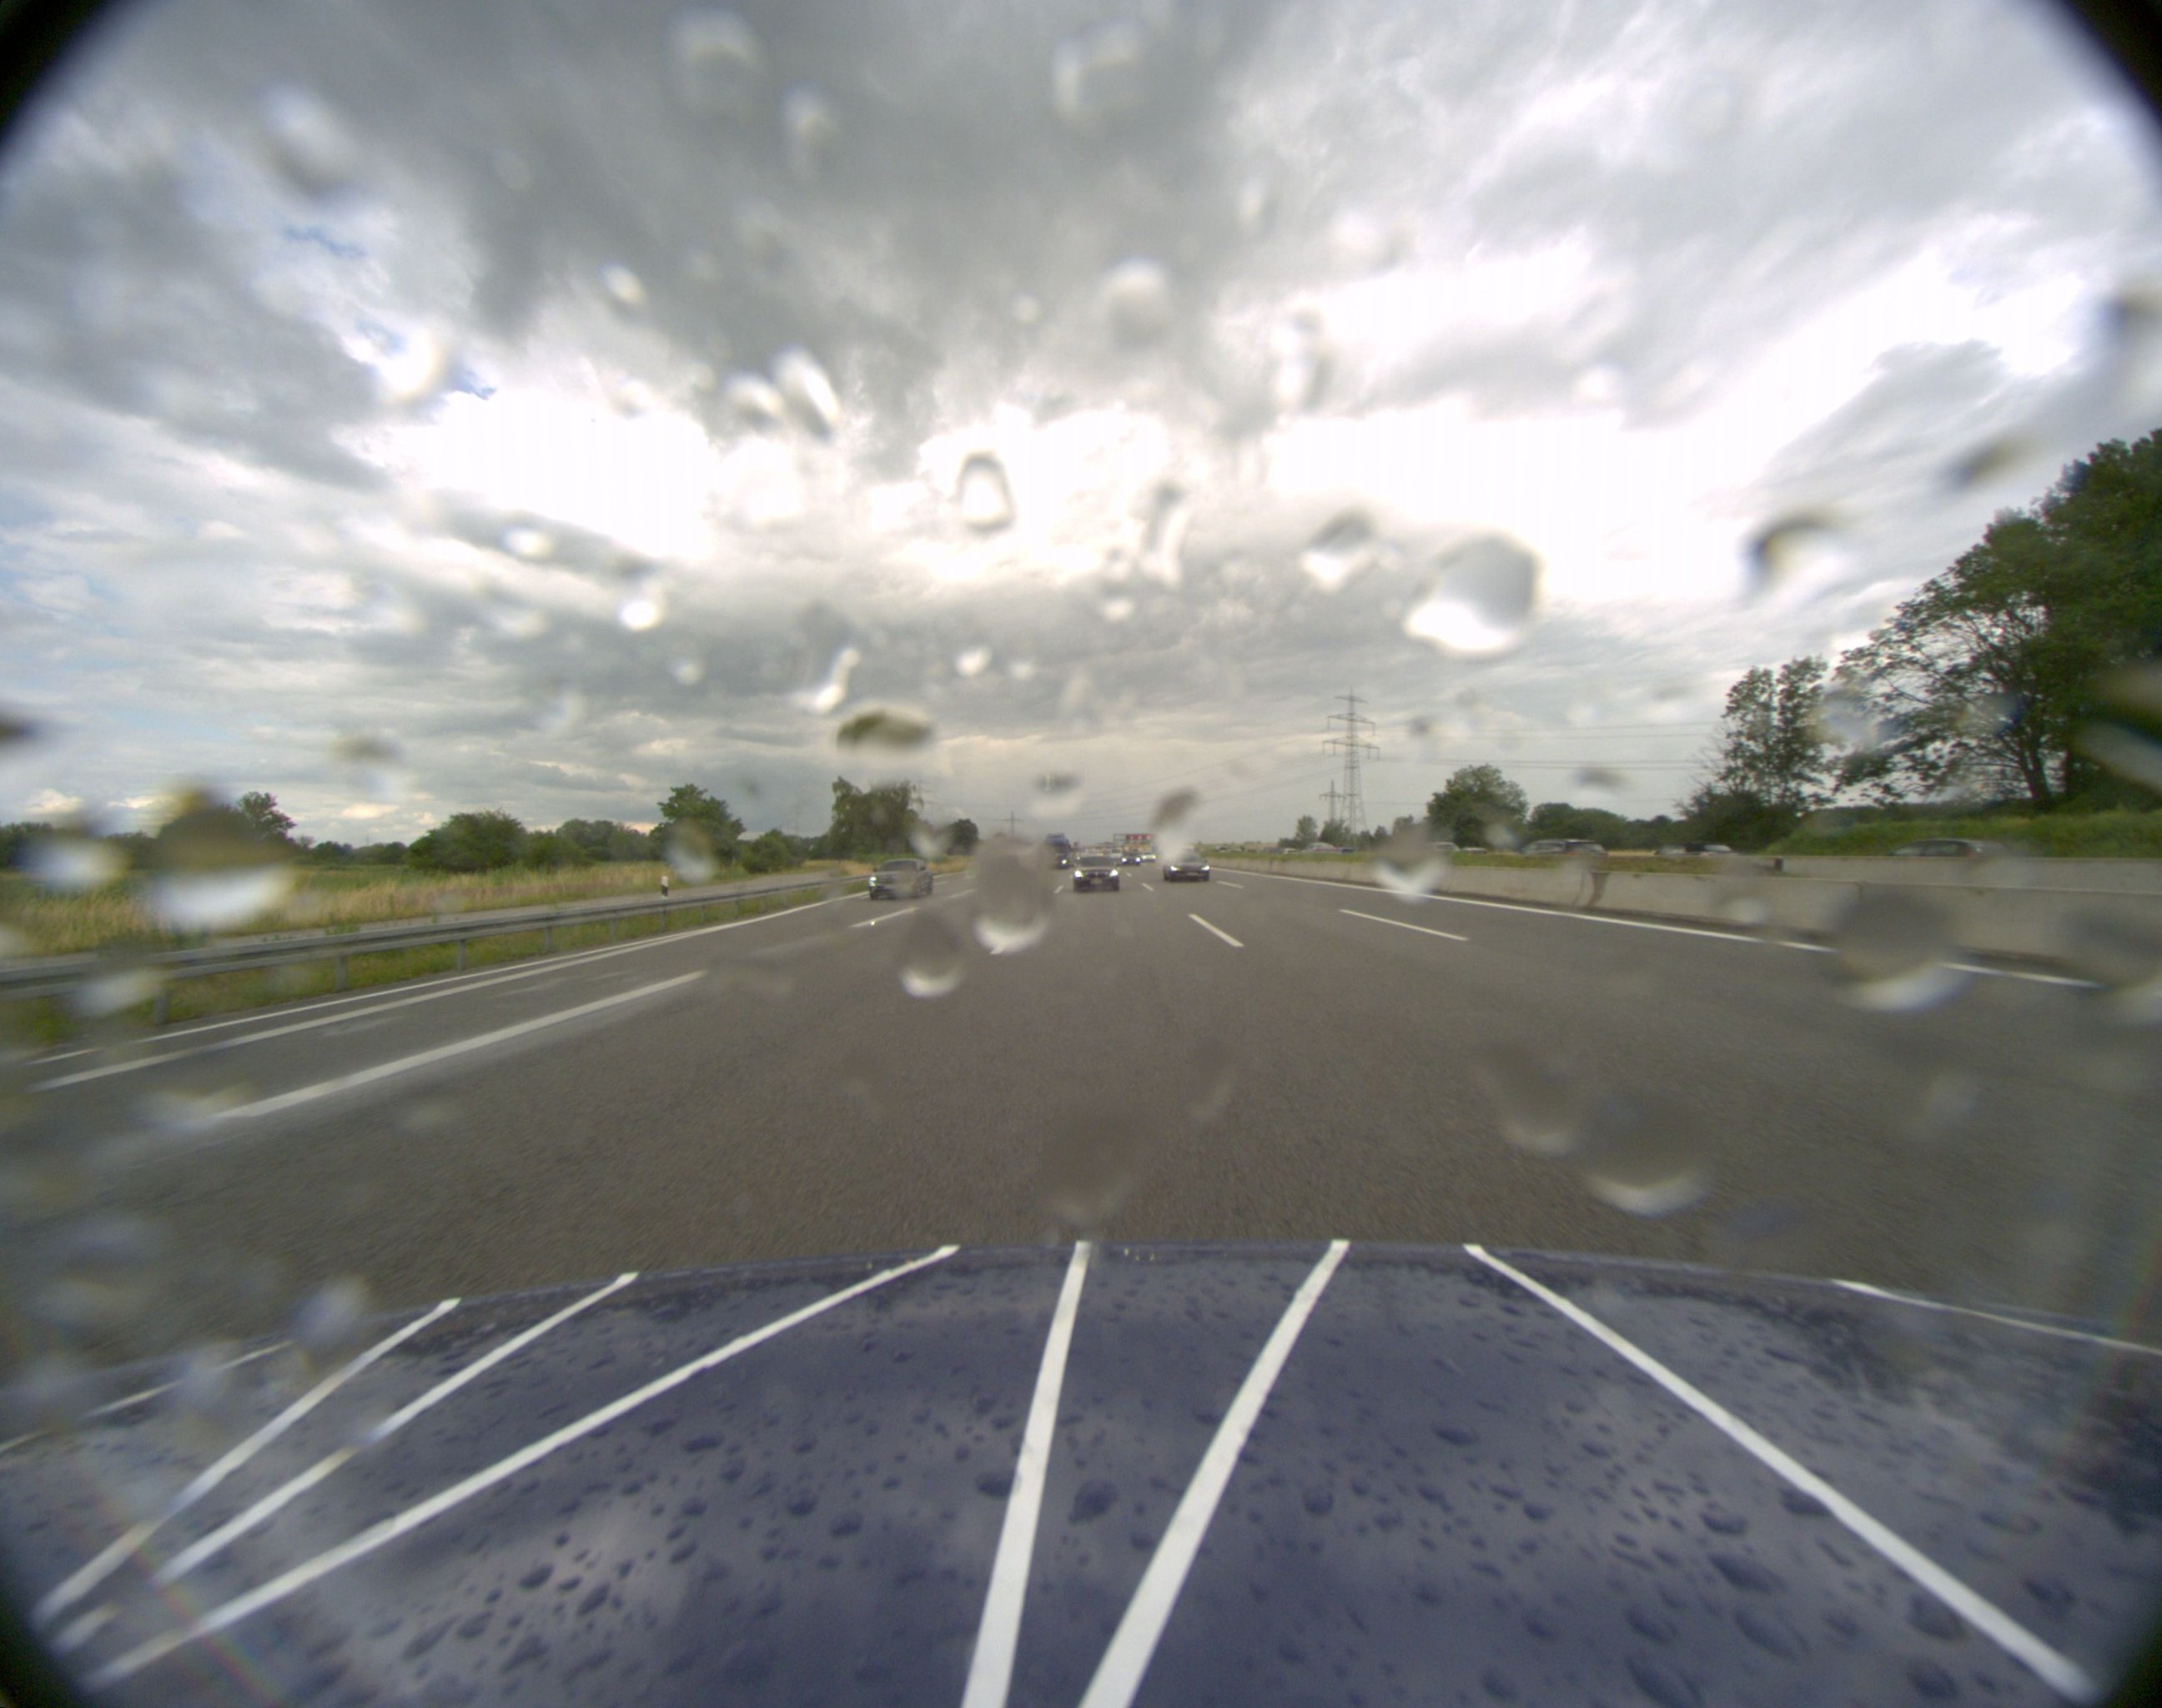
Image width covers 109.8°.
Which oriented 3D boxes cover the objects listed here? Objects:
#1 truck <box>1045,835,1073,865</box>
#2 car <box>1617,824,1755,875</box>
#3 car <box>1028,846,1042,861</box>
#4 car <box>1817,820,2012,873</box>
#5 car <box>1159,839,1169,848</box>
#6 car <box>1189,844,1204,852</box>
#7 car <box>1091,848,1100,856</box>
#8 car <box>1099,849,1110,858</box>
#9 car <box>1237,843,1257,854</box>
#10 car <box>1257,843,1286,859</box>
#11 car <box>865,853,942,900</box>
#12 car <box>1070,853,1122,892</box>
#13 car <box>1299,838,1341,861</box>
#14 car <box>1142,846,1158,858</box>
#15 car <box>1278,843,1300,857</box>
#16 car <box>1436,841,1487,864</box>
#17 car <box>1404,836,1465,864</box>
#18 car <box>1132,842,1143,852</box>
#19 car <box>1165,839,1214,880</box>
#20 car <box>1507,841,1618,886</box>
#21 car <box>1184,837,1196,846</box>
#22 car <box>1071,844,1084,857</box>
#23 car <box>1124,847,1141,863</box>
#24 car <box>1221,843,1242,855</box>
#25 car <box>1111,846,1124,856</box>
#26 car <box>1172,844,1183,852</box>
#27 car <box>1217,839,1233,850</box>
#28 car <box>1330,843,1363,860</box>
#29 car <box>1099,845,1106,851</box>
[{"bbox_3d":[-2.123,-0.405,75.387,2.391,2.726,6.593,-2,1,0],"label":"truck"},{"bbox_3d":[22.519,-0.161,28.523,1.998,1.717,4.017,-2,1,1],"label":"car"},{"bbox_3d":[-6.811,-0.090,113.270,1.836,2.002,3.862,-2,1,0],"label":"car"},{"bbox_3d":[25.997,-0.241,23.920,1.758,1.489,4.017,-2,1,1],"label":"car"},{"bbox_3d":[20.330,-2.559,185.723,1.824,2.112,3.999,-2,1,0],"label":"car"},{"bbox_3d":[19.204,-0.998,126.832,1.824,1.403,3.999,-2,1,0],"label":"car"},{"bbox_3d":[3.184,-0.455,166.790,1.998,1.810,5.163,-2,1,2],"label":"car"},{"bbox_3d":[4.647,-0.123,148.218,1.998,1.810,5.162,-2,1,1],"label":"car"},{"bbox_3d":[23.108,-0.764,105.880,1.824,1.403,3.999,-2,1,0],"label":"car"},{"bbox_3d":[19.309,-0.320,77.171,1.785,1.603,4.351,-2,1,-2],"label":"car"},{"bbox_3d":[-6.841,0.801,29.826,1.999,1.632,4.629,-1,0,-2],"label":"car"},{"bbox_3d":[0.609,0.703,30.358,1.923,1.407,4.000,-1,0,1],"label":"car"},{"bbox_3d":[19.017,-0.354,60.698,1.785,1.687,4.501,-2,1,-2],"label":"car"},{"bbox_3d":[9.382,-0.338,103.039,1.822,1.565,4.000,-2,1,1],"label":"car"},{"bbox_3d":[23.060,-0.465,84.448,1.467,1.403,3.595,-2,1,0],"label":"car"},{"bbox_3d":[30.286,-0.150,60.598,1.785,1.687,4.351,-2,1,-2],"label":"car"},{"bbox_3d":[22.817,-0.266,49.214,1.785,1.687,4.351,-2,1,-2],"label":"car"},{"bbox_3d":[9.493,-1.219,127.188,1.710,1.621,4.001,-2,1,5],"label":"car"},{"bbox_3d":[5.307,0.225,37.826,1.998,1.810,5.163,-2,1,4],"label":"car"},{"bbox_3d":[18.771,0.326,29.847,1.801,1.605,3.999,-2,1,0],"label":"car"},{"bbox_3d":[24.795,-2.719,172.703,2.078,1.959,4.952,-2,1,0],"label":"car"},{"bbox_3d":[-0.555,-0.607,121.772,1.998,2.002,5.050,-2,1,0],"label":"car"},{"bbox_3d":[5.458,0.112,80.621,1.710,1.562,4.347,-2,1,5],"label":"car"},{"bbox_3d":[18.920,-0.634,95.696,1.824,1.403,3.999,-2,1,0],"label":"car"},{"bbox_3d":[5.643,-0.433,117.077,1.806,1.424,3.999,-2,1,0],"label":"car"},{"bbox_3d":[20.408,-1.294,161.190,1.824,1.721,3.999,-2,1,0],"label":"car"},{"bbox_3d":[24.414,-1.582,128.794,1.824,1.897,3.999,-2,1,0],"label":"car"},{"bbox_3d":[23.239,-0.264,66.575,1.639,1.403,3.755,-2,1,1],"label":"car"},{"bbox_3d":[6.439,-1.706,228.509,1.998,1.801,4.273,-1,1,1],"label":"car"}]
